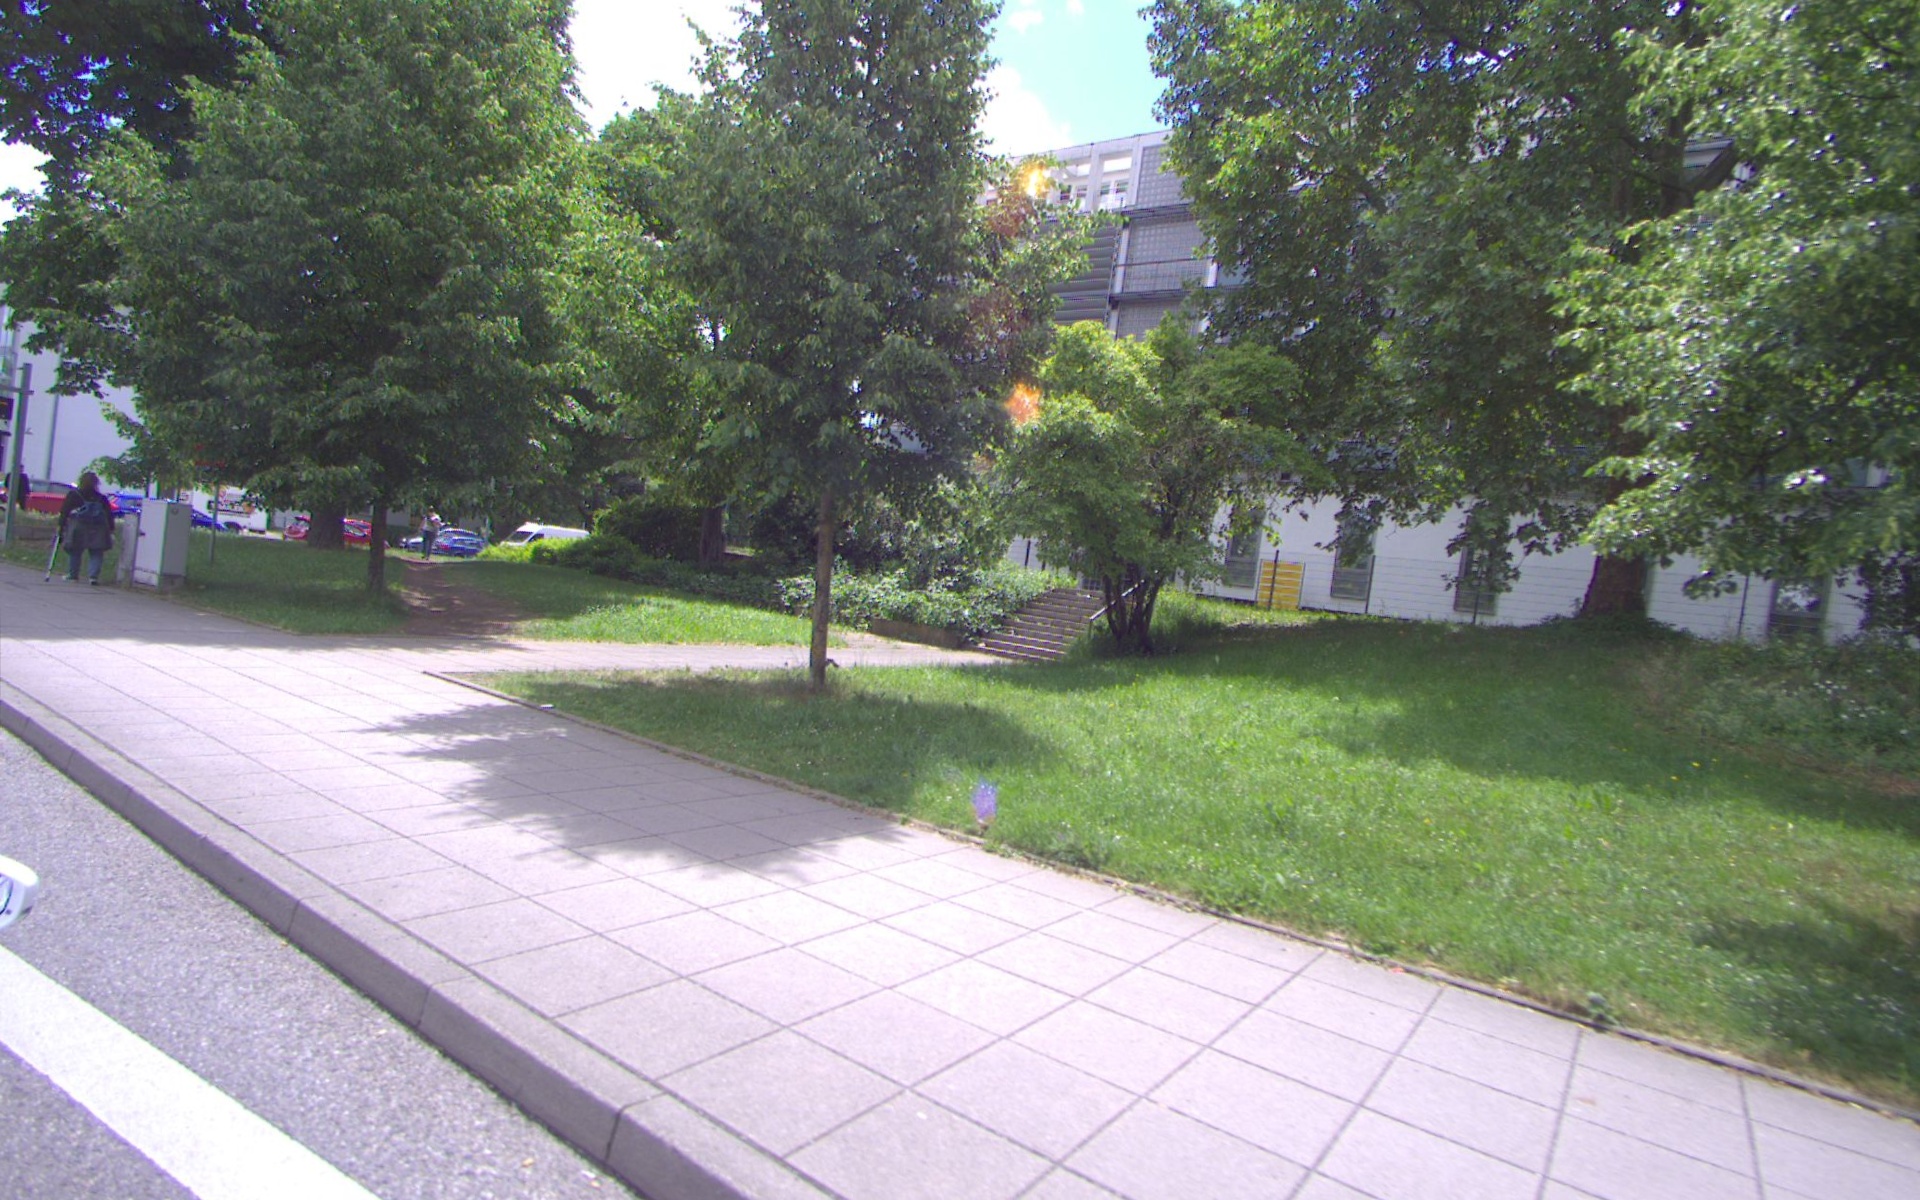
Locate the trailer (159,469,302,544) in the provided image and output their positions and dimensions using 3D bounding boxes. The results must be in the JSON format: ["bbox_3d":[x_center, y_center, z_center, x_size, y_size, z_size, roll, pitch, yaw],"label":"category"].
[{"bbox_3d":[-32.871,-4.172,45.481,2.184,2.518,4.544,9,1,31],"label":"trailer"}]

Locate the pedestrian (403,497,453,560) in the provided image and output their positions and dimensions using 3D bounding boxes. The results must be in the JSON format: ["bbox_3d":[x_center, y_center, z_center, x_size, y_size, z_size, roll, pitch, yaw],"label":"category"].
[{"bbox_3d":[-16.195,-2.172,30.626,0.846,1.782,0.983,7,1,43],"label":"pedestrian"}]

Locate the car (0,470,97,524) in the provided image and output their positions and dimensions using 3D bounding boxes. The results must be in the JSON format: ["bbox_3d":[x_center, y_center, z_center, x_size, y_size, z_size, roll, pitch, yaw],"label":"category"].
[{"bbox_3d":[-36.452,-4.099,38.898,1.965,1.581,4.164,10,2,27],"label":"car"}]

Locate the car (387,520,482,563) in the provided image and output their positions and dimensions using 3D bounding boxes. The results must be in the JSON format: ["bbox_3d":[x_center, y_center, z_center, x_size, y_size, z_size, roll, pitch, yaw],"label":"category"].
[{"bbox_3d":[-27.965,-3.091,53.636,1.878,1.745,3.989,8,1,33],"label":"car"}]

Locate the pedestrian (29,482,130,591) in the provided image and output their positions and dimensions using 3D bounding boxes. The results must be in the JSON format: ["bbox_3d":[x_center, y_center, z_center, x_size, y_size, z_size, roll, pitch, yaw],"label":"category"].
[{"bbox_3d":[-12.692,-0.907,14.502,0.816,1.442,0.820,7,1,33],"label":"pedestrian"}]

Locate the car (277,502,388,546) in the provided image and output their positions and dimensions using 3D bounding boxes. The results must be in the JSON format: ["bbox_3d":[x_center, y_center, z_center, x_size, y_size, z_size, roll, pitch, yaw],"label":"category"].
[{"bbox_3d":[-30.661,-3.674,49.237,1.966,1.522,4.084,9,2,31],"label":"car"}]

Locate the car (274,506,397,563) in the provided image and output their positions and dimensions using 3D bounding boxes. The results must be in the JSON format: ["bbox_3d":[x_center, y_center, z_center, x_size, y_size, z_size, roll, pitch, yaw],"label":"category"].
[{"bbox_3d":[-25.303,-2.630,40.865,1.799,1.664,3.692,9,1,30],"label":"car"}]

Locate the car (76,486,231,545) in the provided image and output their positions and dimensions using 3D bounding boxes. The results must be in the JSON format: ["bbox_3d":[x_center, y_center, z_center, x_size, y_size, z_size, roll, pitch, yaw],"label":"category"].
[{"bbox_3d":[-28.378,-2.942,35.491,1.864,1.476,3.796,9,2,30],"label":"car"}]

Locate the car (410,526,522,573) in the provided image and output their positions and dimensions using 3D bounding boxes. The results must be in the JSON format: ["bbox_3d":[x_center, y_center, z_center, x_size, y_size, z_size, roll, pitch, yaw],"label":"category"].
[{"bbox_3d":[-22.429,-2.266,45.854,1.966,1.579,4.084,8,1,29],"label":"car"}]

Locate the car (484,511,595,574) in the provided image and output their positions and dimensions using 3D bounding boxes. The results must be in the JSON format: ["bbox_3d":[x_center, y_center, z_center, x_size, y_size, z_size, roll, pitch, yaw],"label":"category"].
[{"bbox_3d":[-24.618,-3.332,59.153,2.168,2.902,5.582,8,1,32],"label":"car"}]
